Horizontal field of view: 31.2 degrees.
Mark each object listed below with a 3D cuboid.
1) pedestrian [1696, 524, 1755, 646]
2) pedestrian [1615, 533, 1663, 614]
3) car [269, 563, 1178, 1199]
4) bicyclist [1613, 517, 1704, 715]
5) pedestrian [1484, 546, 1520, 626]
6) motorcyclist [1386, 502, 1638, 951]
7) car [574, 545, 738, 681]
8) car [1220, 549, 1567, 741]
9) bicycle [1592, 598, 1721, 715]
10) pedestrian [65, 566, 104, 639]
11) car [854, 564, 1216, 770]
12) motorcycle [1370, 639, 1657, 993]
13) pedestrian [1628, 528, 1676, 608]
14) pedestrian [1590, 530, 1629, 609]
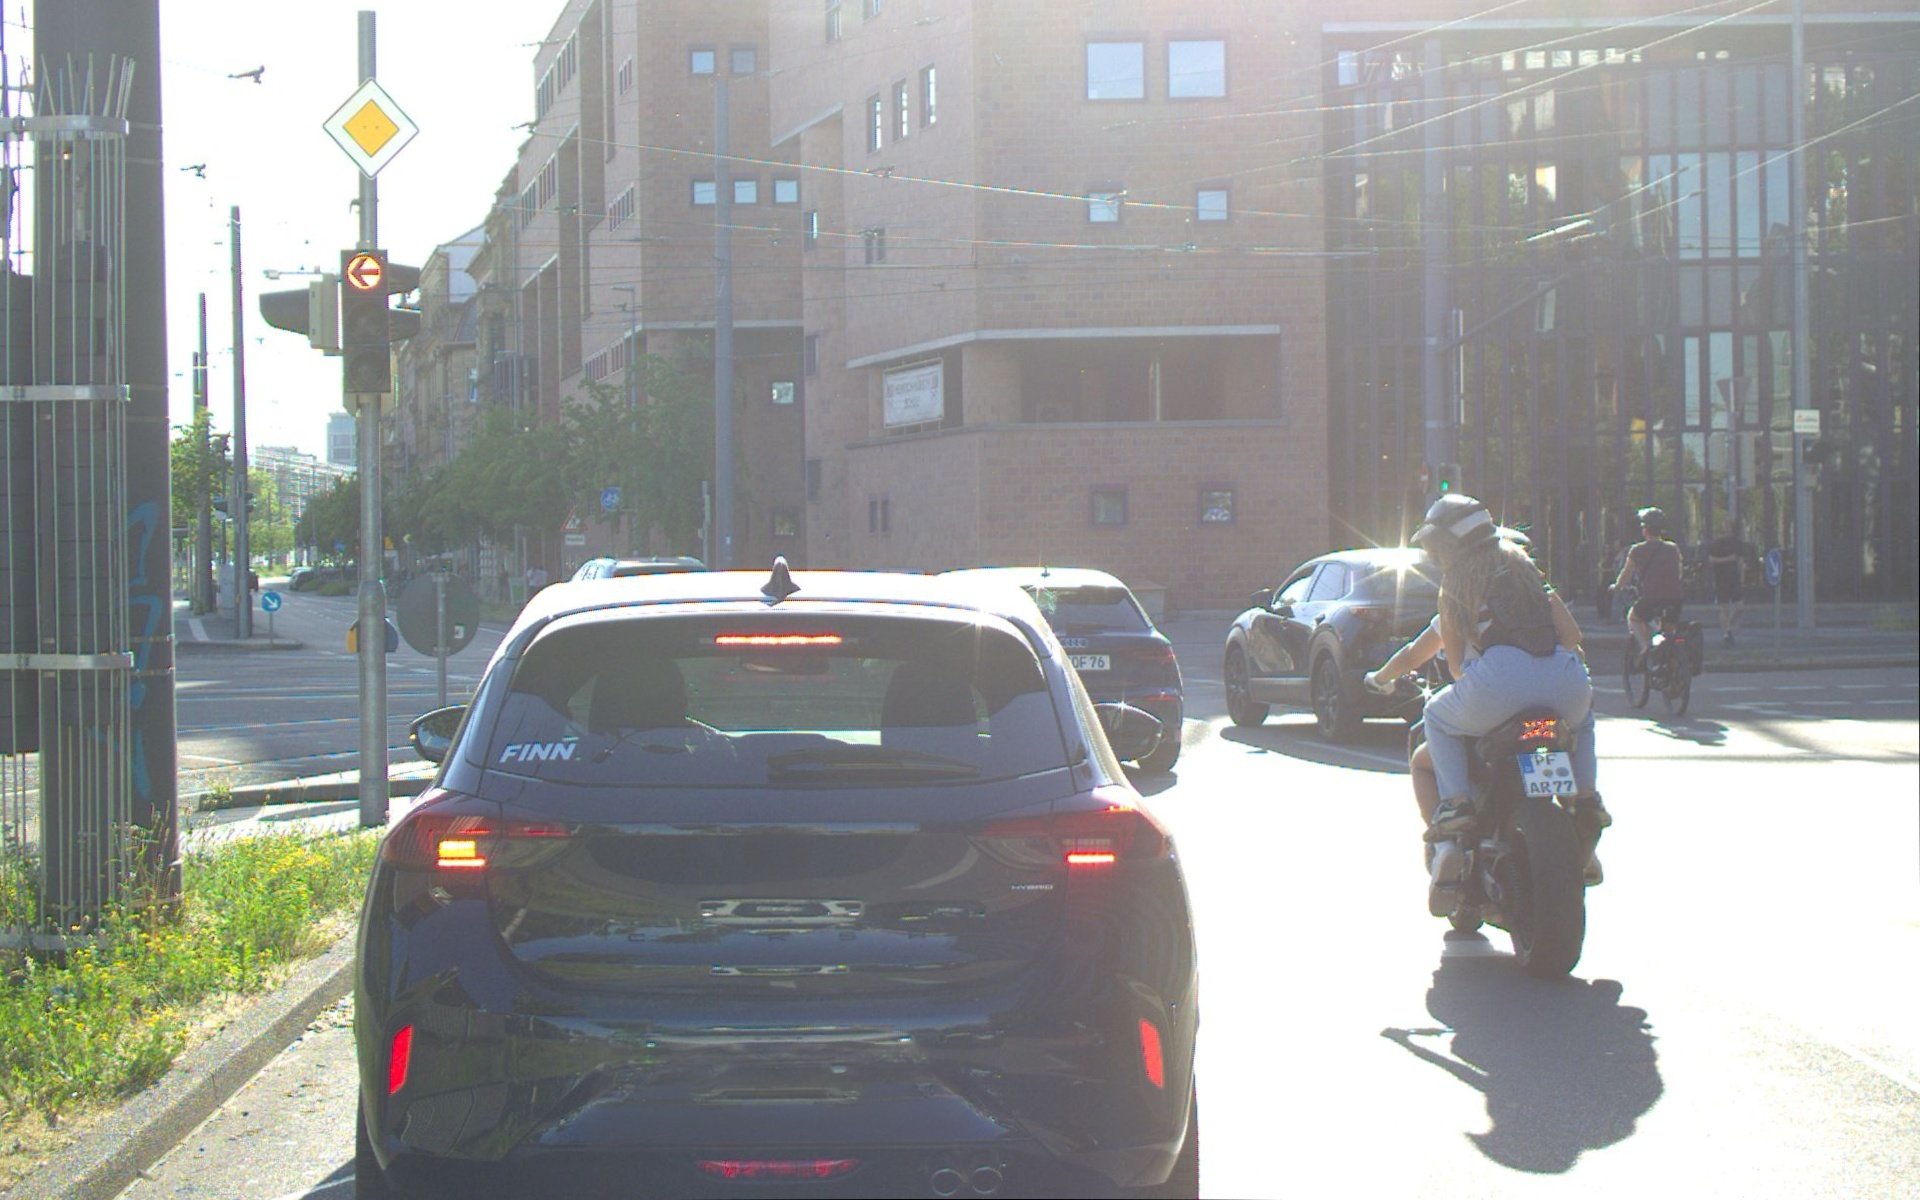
[{"bbox_3d":[11.093,-0.218,49.802,0.707,1.753,0.560,0,1,25],"label":"pedestrian"},{"bbox_3d":[13.579,-0.532,68.751,0.900,1.611,0.560,-1,1,8],"label":"pedestrian"},{"bbox_3d":[-0.417,0.641,8.281,1.649,1.428,4.000,-1,1,0],"label":"car"},{"bbox_3d":[6.428,0.137,31.666,0.577,1.785,0.864,-1,1,-5],"label":"bicyclist"},{"bbox_3d":[9.754,-0.261,61.911,0.529,1.425,0.598,-1,1,-1],"label":"pedestrian"},{"bbox_3d":[1.949,0.424,12.255,0.745,1.525,1.021,-1,1,2],"label":"motorcyclist"},{"bbox_3d":[-3.926,0.131,43.931,1.737,1.645,4.001,-1,1,-10],"label":"car"},{"bbox_3d":[3.493,0.322,28.438,1.807,1.452,4.001,0,1,-9],"label":"car"},{"bbox_3d":[6.425,0.502,31.809,0.491,0.994,2.328,-1,1,-6],"label":"bicycle"},{"bbox_3d":[-20.026,0.047,78.625,0.765,1.634,0.744,-1,1,-22],"label":"pedestrian"},{"bbox_3d":[0.452,0.423,24.972,1.737,1.345,4.001,-1,1,-12],"label":"car"},{"bbox_3d":[1.956,0.730,12.406,0.775,1.111,1.969,-1,1,2],"label":"motorcycle"},{"bbox_3d":[14.003,-0.652,69.565,0.900,1.611,0.560,-1,1,8],"label":"pedestrian"},{"bbox_3d":[13.356,-0.638,70.699,0.738,1.611,0.560,-1,1,8],"label":"pedestrian"}]
